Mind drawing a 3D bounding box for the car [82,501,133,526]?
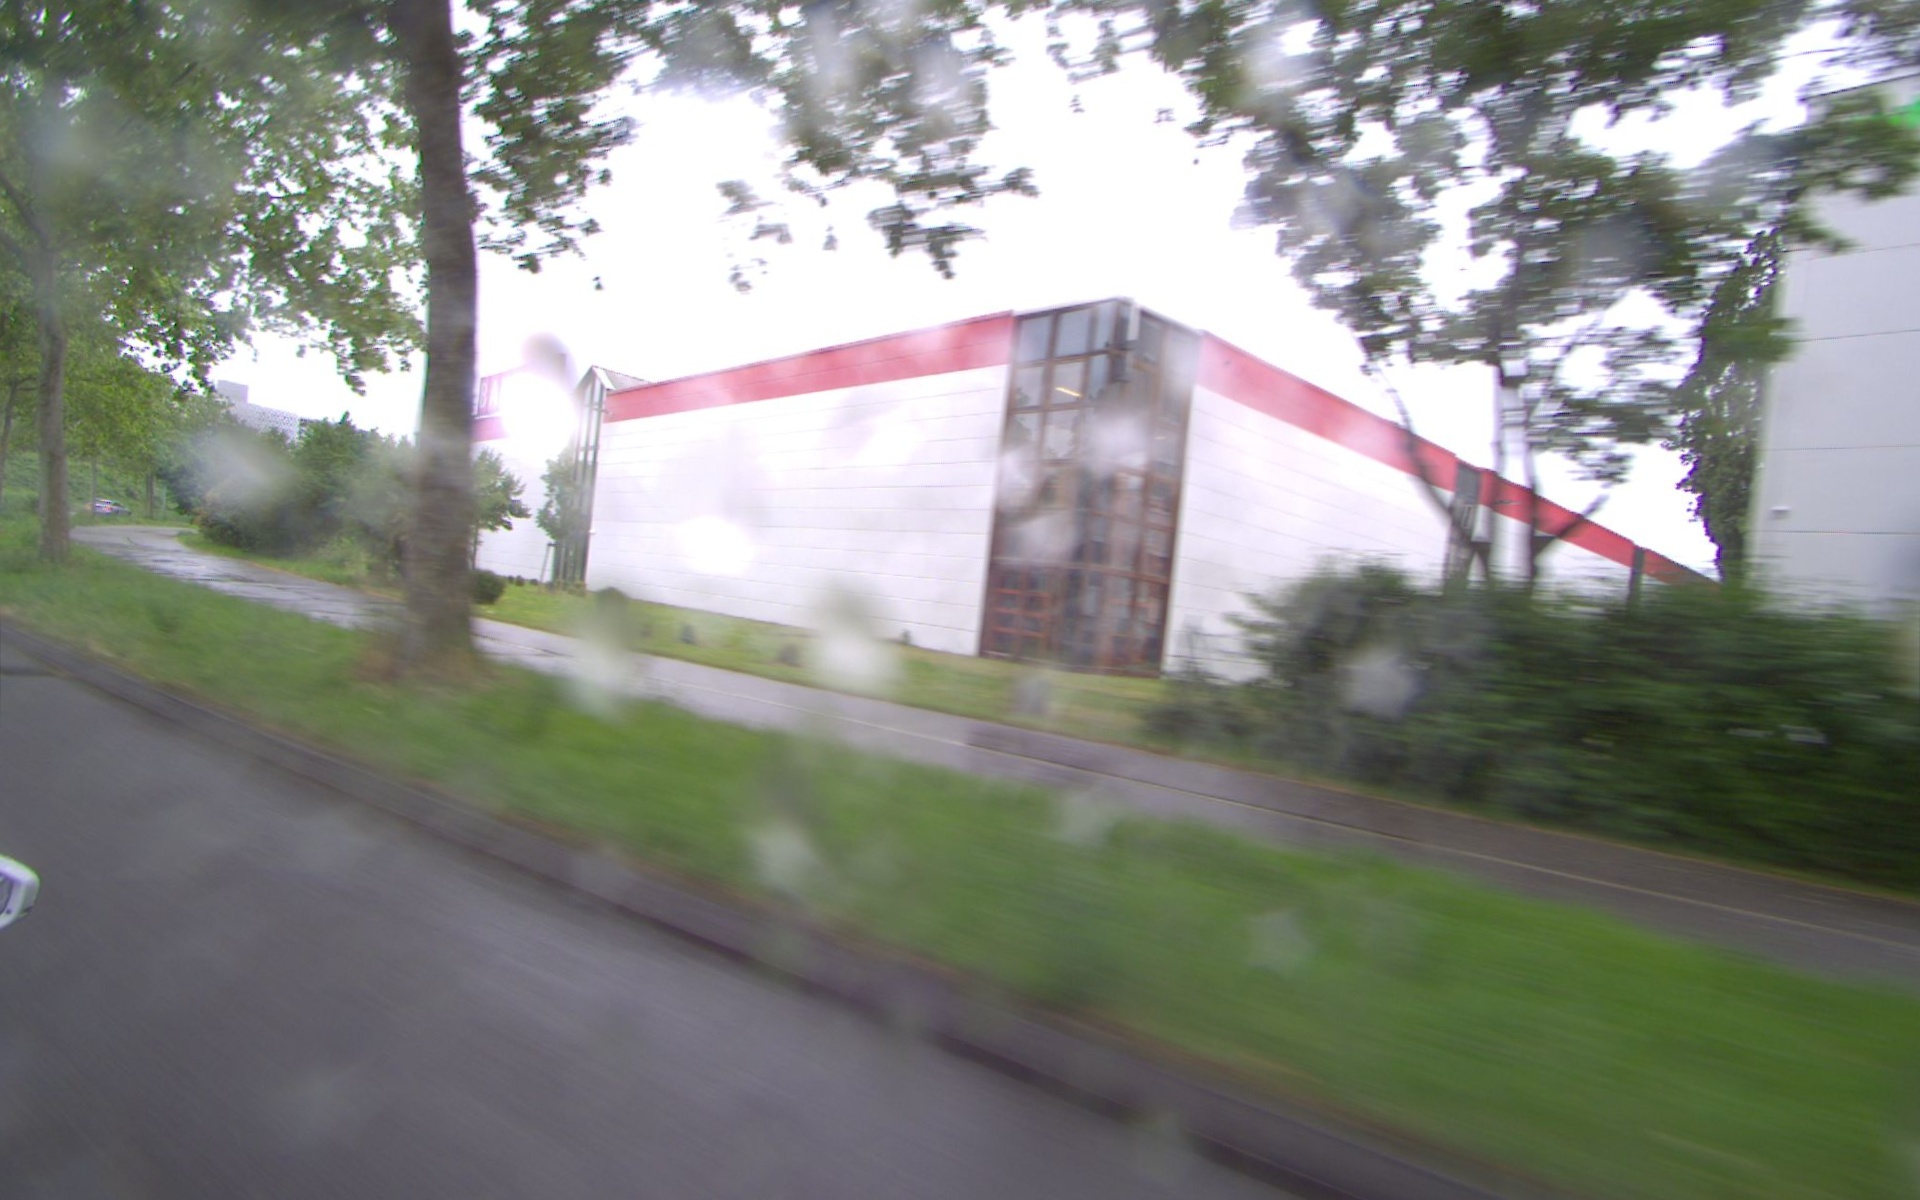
[{"bbox_3d":[-70.302,-7.141,83.030,1.762,1.574,3.980,9,-1,-21],"label":"car"}]
